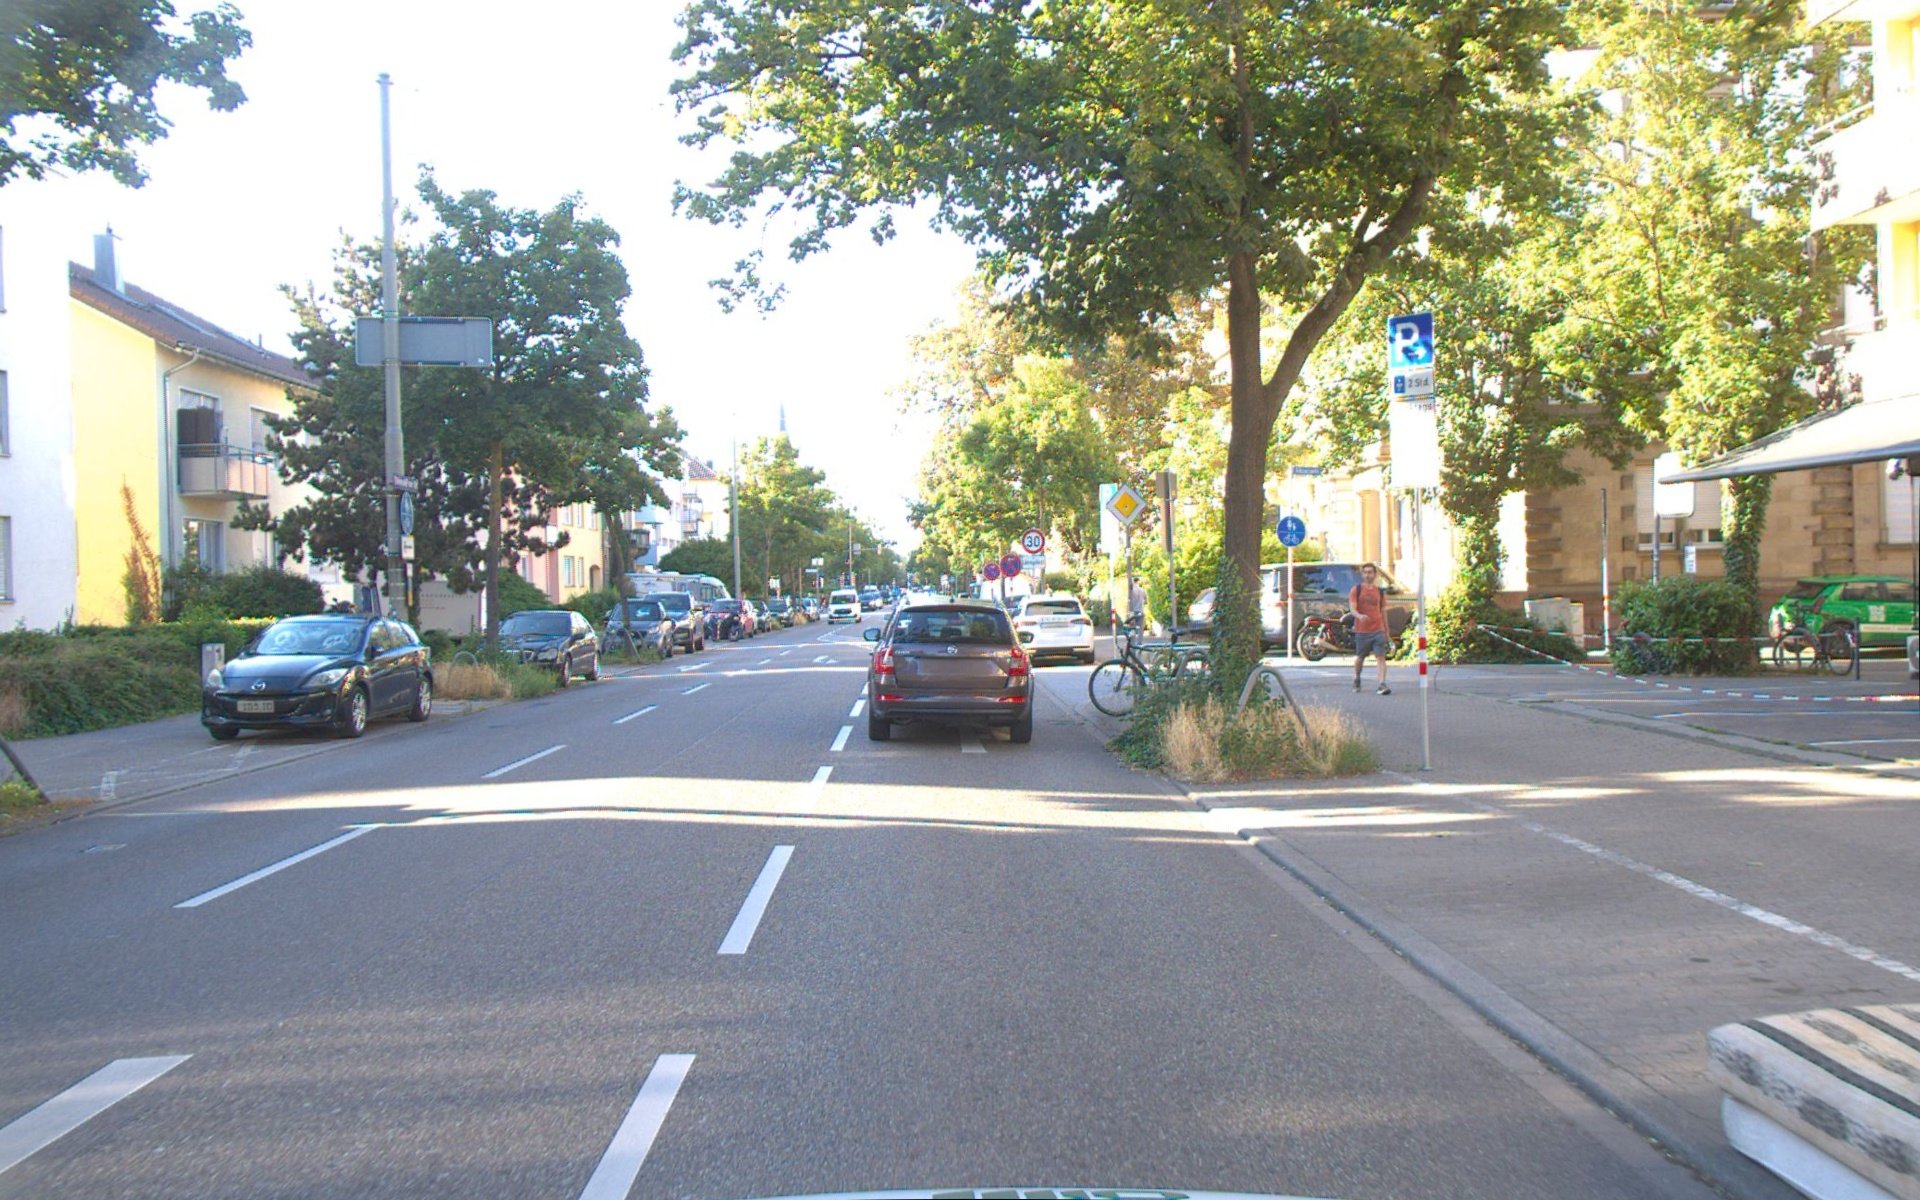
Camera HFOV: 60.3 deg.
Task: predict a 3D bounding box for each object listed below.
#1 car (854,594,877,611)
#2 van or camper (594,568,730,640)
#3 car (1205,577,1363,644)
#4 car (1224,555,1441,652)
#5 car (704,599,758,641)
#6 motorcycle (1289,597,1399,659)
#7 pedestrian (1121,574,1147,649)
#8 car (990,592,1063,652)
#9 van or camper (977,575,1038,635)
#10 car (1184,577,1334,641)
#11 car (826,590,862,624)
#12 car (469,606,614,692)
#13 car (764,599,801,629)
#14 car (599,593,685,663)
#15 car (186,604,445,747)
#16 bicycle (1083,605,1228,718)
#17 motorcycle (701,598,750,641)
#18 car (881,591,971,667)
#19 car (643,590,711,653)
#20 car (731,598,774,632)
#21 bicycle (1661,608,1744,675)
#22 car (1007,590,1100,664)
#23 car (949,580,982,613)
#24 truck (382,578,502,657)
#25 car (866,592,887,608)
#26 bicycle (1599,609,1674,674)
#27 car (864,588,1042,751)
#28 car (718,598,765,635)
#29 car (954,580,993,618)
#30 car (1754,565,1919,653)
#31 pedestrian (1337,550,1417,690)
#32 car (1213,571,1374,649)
[{"bbox_3d":[-8.862,0.194,154.858,1.953,1.534,3.999,-1,0,-2],"label":"car"},{"bbox_3d":[-17.316,0.207,96.384,7.489,3.942,1.999,-1,0,-4],"label":"van or camper"},{"bbox_3d":[8.235,0.247,41.976,3.749,1.552,1.501,-2,0,-24],"label":"car"},{"bbox_3d":[8.122,0.051,35.973,4.484,1.926,1.896,-2,0,-29],"label":"car"},{"bbox_3d":[-9.022,0.762,65.398,1.631,1.538,4.177,-1,1,-2],"label":"car"},{"bbox_3d":[7.514,0.546,32.373,2.012,1.144,0.525,-1,0,-7],"label":"motorcycle"},{"bbox_3d":[4.338,0.282,41.272,0.524,1.825,0.687,-1,0,0],"label":"pedestrian"},{"bbox_3d":[1.731,0.553,44.319,1.783,1.438,4.111,-1,1,0],"label":"car"},{"bbox_3d":[1.687,0.155,59.734,1.953,2.049,3.999,-1,1,-2],"label":"van or camper"},{"bbox_3d":[7.978,0.225,44.091,3.749,1.552,1.501,-2,0,-24],"label":"car"},{"bbox_3d":[-6.543,0.377,93.807,1.839,1.788,4.177,-1,1,-2],"label":"car"},{"bbox_3d":[-8.065,0.893,32.274,1.718,1.445,4.425,-1,1,-1],"label":"car"},{"bbox_3d":[-9.291,0.704,86.794,1.631,1.457,3.274,-1,1,-2],"label":"car"},{"bbox_3d":[-8.695,0.731,45.442,1.715,1.771,3.590,-1,1,-2],"label":"car"},{"bbox_3d":[-8.015,0.866,20.997,1.682,1.523,4.246,-1,1,-1],"label":"car"},{"bbox_3d":[2.378,0.737,20.088,1.635,1.247,0.636,-4,0,11],"label":"bicycle"},{"bbox_3d":[-8.583,0.717,60.510,0.761,1.538,1.997,-2,1,-44],"label":"motorcycle"},{"bbox_3d":[-0.793,0.600,36.578,1.696,1.520,3.946,-1,1,-5],"label":"car"},{"bbox_3d":[-8.547,0.625,50.113,1.476,1.788,3.692,-1,1,-2],"label":"car"},{"bbox_3d":[-9.462,0.663,75.621,1.631,1.457,3.274,-1,1,-2],"label":"car"},{"bbox_3d":[11.285,0.613,25.174,0.335,0.967,1.579,-3,0,-7],"label":"bicycle"},{"bbox_3d":[1.963,0.532,35.839,1.783,1.438,4.111,-1,1,0],"label":"car"},{"bbox_3d":[0.290,-0.223,95.488,1.695,1.846,3.948,-1,1,-3],"label":"car"},{"bbox_3d":[-14.592,0.472,46.710,2.855,2.130,1.545,-1,1,-2],"label":"truck"},{"bbox_3d":[-8.461,-0.010,167.840,1.953,1.534,3.999,-1,0,-2],"label":"car"},{"bbox_3d":[10.512,0.627,25.738,0.335,0.967,1.579,1,0,-7],"label":"bicycle"},{"bbox_3d":[-0.087,0.661,18.043,1.694,1.520,3.950,-1,1,-1],"label":"car"},{"bbox_3d":[-9.373,0.680,71.078,1.631,1.457,3.274,-1,1,-2],"label":"car"},{"bbox_3d":[0.652,-0.069,83.004,1.695,1.846,3.948,-1,1,-3],"label":"car"},{"bbox_3d":[17.851,0.144,32.210,3.838,1.612,1.929,-1,1,-1],"label":"car"},{"bbox_3d":[5.585,0.256,22.209,0.741,1.827,0.905,-1,0,-6],"label":"pedestrian"},{"bbox_3d":[7.955,0.218,39.352,3.762,1.708,1.496,-2,1,-32],"label":"car"}]
